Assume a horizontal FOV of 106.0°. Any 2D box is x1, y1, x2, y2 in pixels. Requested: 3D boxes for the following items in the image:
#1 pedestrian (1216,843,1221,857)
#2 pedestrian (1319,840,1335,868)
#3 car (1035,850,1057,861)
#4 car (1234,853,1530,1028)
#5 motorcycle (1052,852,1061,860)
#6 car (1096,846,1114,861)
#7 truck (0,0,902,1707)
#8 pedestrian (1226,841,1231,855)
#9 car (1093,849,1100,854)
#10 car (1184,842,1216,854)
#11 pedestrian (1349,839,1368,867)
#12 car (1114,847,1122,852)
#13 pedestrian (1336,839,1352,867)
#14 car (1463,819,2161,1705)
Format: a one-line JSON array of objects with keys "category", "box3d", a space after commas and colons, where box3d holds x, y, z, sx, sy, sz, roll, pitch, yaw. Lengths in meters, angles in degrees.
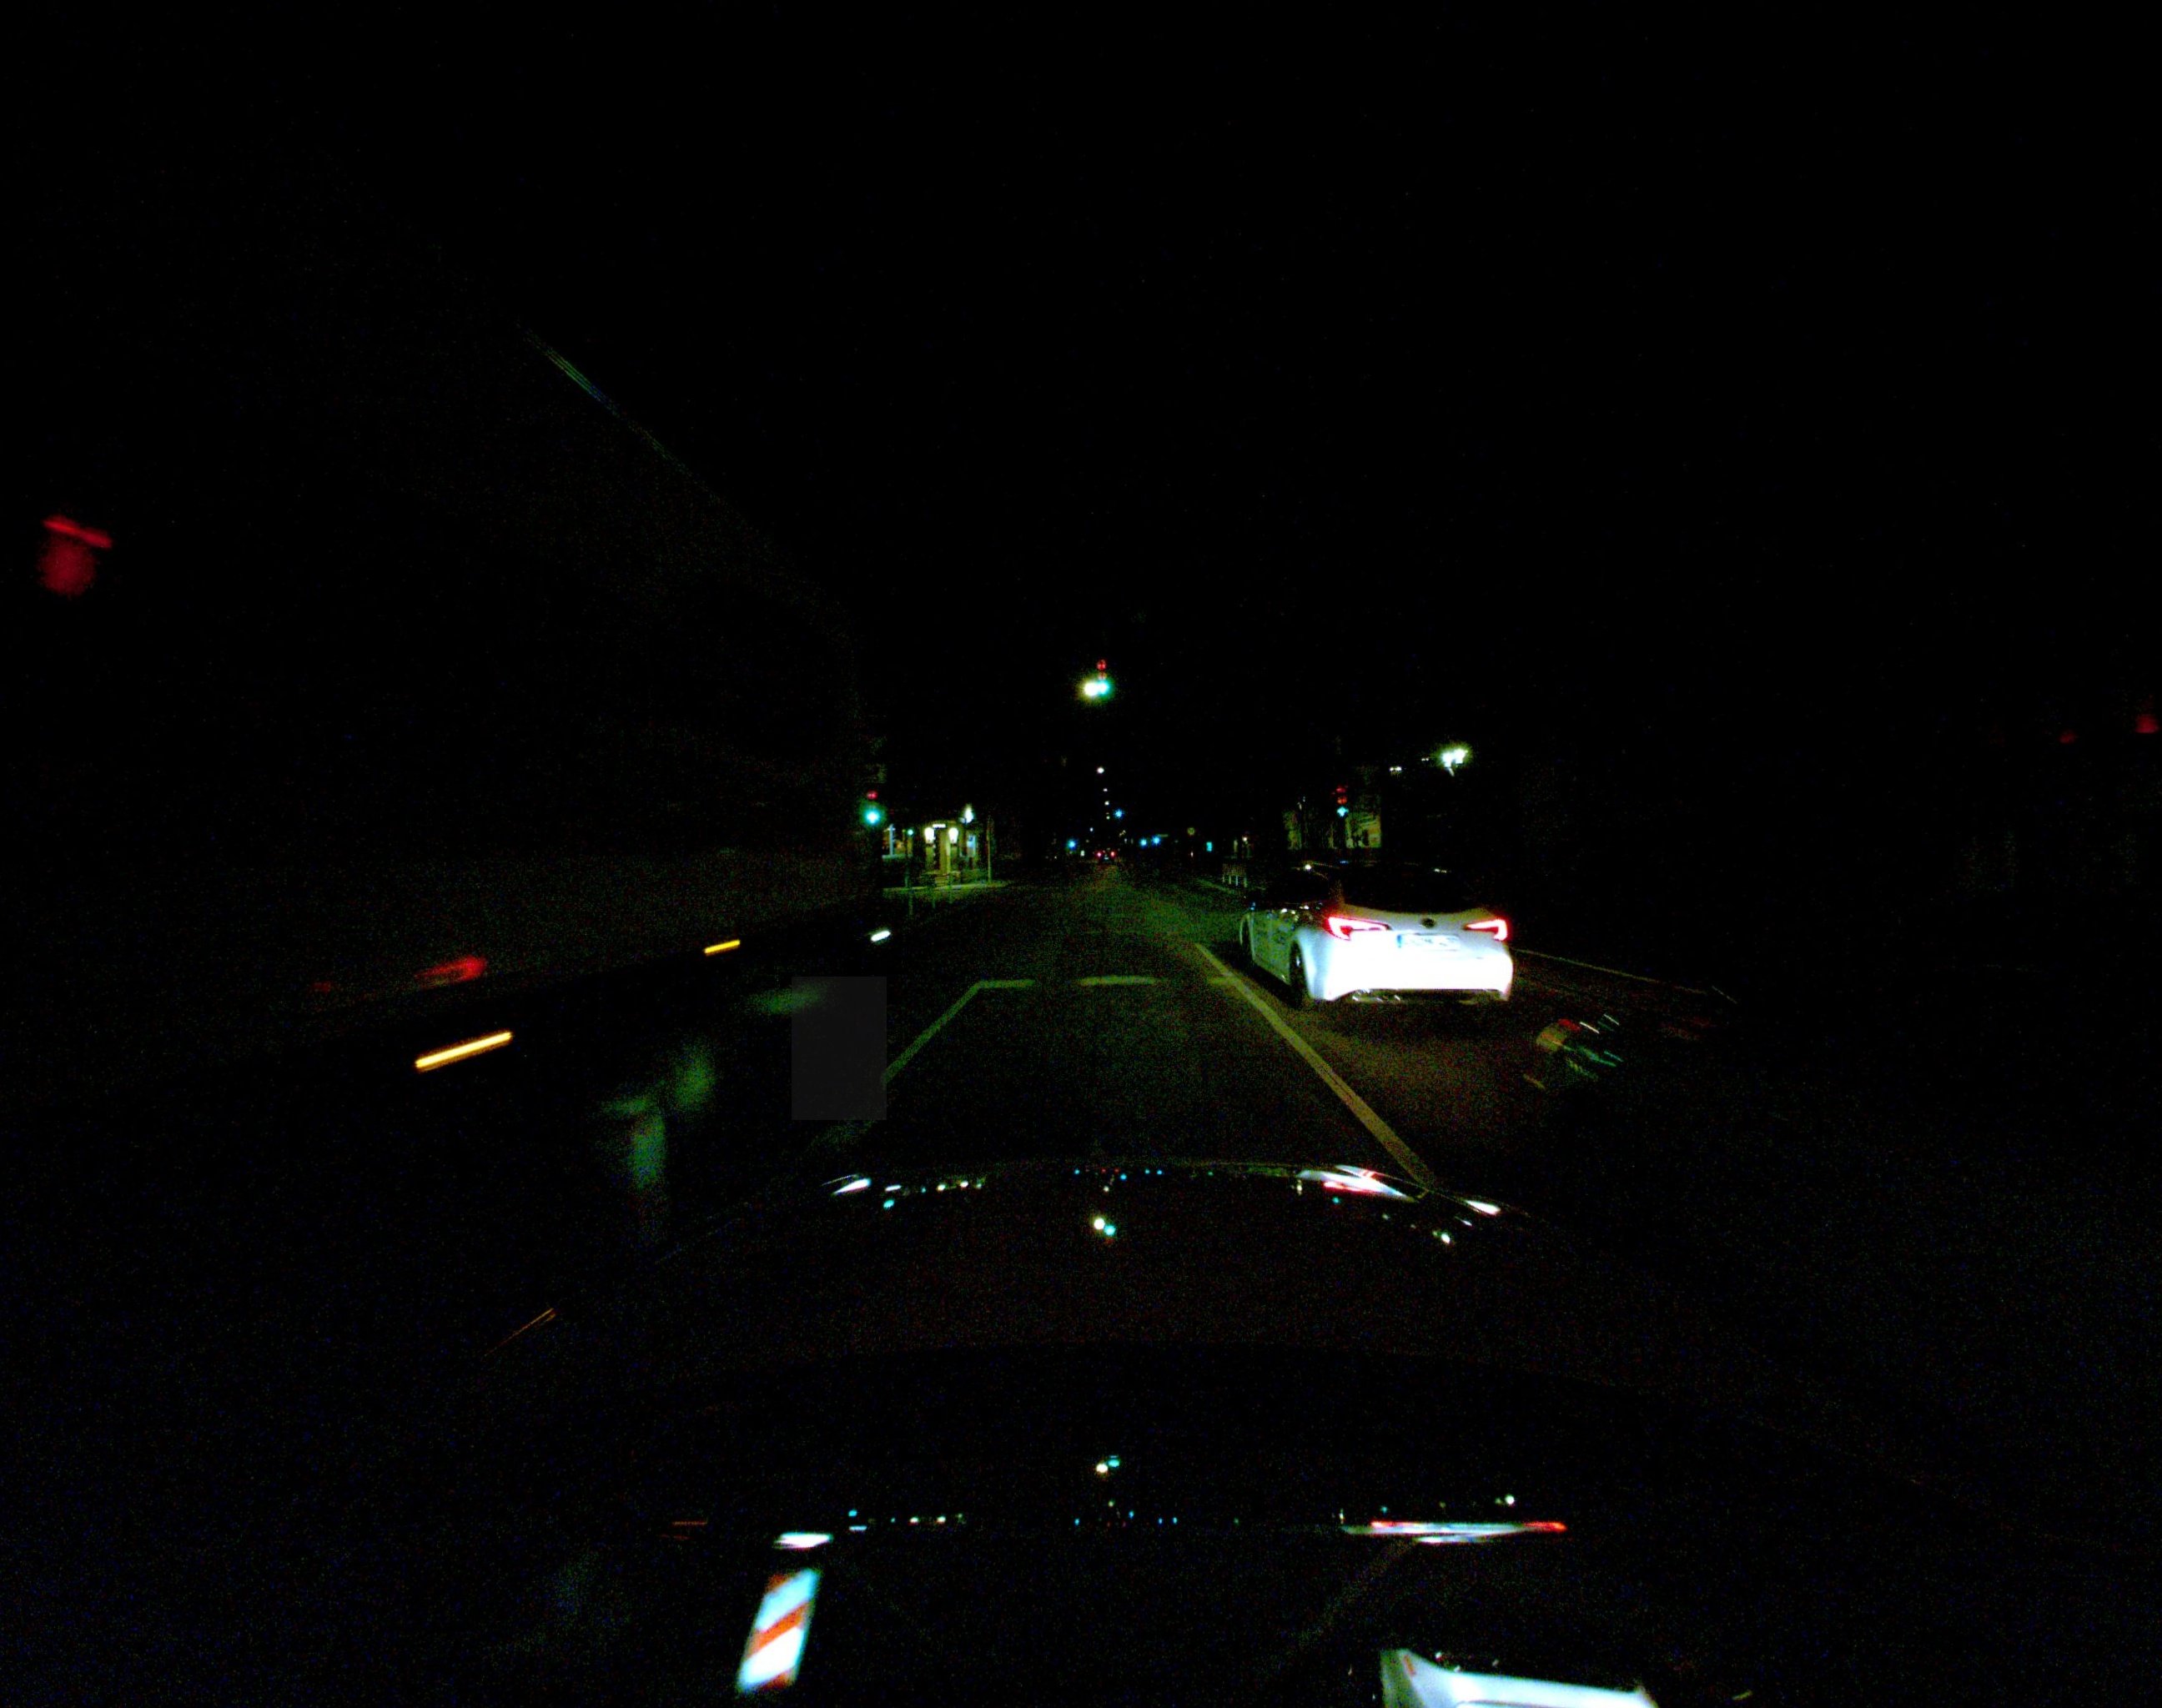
[{"category": "pedestrian", "box3d": [18.872, -0.551, 111.788, 0.529, 2.013, 0.670, -2, 0, 1]}, {"category": "pedestrian", "box3d": [15.845, -0.026, 52.527, 0.711, 1.769, 0.907, -2, 0, 2]}, {"category": "car", "box3d": [-5.462, 0.251, 126.710, 1.815, 1.486, 3.962, -2, 0, -30]}, {"category": "car", "box3d": [2.891, 0.717, 8.858, 1.723, 1.435, 4.211, 0, 0, 1]}, {"category": "motorcycle", "box3d": [-3.766, 0.357, 123.775, 0.783, 1.204, 2.435, -2, 0, -17]}, {"category": "car", "box3d": [2.834, -0.051, 97.125, 1.987, 1.640, 4.000, -2, 0, 0]}, {"category": "truck", "box3d": [-3.185, -0.387, 1.919, 2.744, 3.718, 10.118, -3, 0, 2]}, {"category": "pedestrian", "box3d": [20.206, -0.822, 111.798, 0.486, 2.013, 0.551, -2, 0, 1]}, {"category": "car", "box3d": [4.135, -0.656, 217.025, 1.772, 1.390, 4.000, -2, 0, 0]}, {"category": "car", "box3d": [15.240, -0.755, 104.247, 3.968, 1.386, 1.773, -2, 0, 4]}, {"category": "pedestrian", "box3d": [17.944, -0.066, 52.673, 0.897, 1.769, 0.907, -2, 0, 1]}, {"category": "car", "box3d": [10.525, -1.273, 231.665, 1.987, 1.596, 3.999, -2, 0, -1]}, {"category": "pedestrian", "box3d": [16.873, -0.069, 52.239, 0.736, 1.769, 0.907, -2, 0, 2]}, {"category": "car", "box3d": [2.663, 0.689, 2.052, 1.631, 1.494, 4.002, 0, 0, 2]}]
